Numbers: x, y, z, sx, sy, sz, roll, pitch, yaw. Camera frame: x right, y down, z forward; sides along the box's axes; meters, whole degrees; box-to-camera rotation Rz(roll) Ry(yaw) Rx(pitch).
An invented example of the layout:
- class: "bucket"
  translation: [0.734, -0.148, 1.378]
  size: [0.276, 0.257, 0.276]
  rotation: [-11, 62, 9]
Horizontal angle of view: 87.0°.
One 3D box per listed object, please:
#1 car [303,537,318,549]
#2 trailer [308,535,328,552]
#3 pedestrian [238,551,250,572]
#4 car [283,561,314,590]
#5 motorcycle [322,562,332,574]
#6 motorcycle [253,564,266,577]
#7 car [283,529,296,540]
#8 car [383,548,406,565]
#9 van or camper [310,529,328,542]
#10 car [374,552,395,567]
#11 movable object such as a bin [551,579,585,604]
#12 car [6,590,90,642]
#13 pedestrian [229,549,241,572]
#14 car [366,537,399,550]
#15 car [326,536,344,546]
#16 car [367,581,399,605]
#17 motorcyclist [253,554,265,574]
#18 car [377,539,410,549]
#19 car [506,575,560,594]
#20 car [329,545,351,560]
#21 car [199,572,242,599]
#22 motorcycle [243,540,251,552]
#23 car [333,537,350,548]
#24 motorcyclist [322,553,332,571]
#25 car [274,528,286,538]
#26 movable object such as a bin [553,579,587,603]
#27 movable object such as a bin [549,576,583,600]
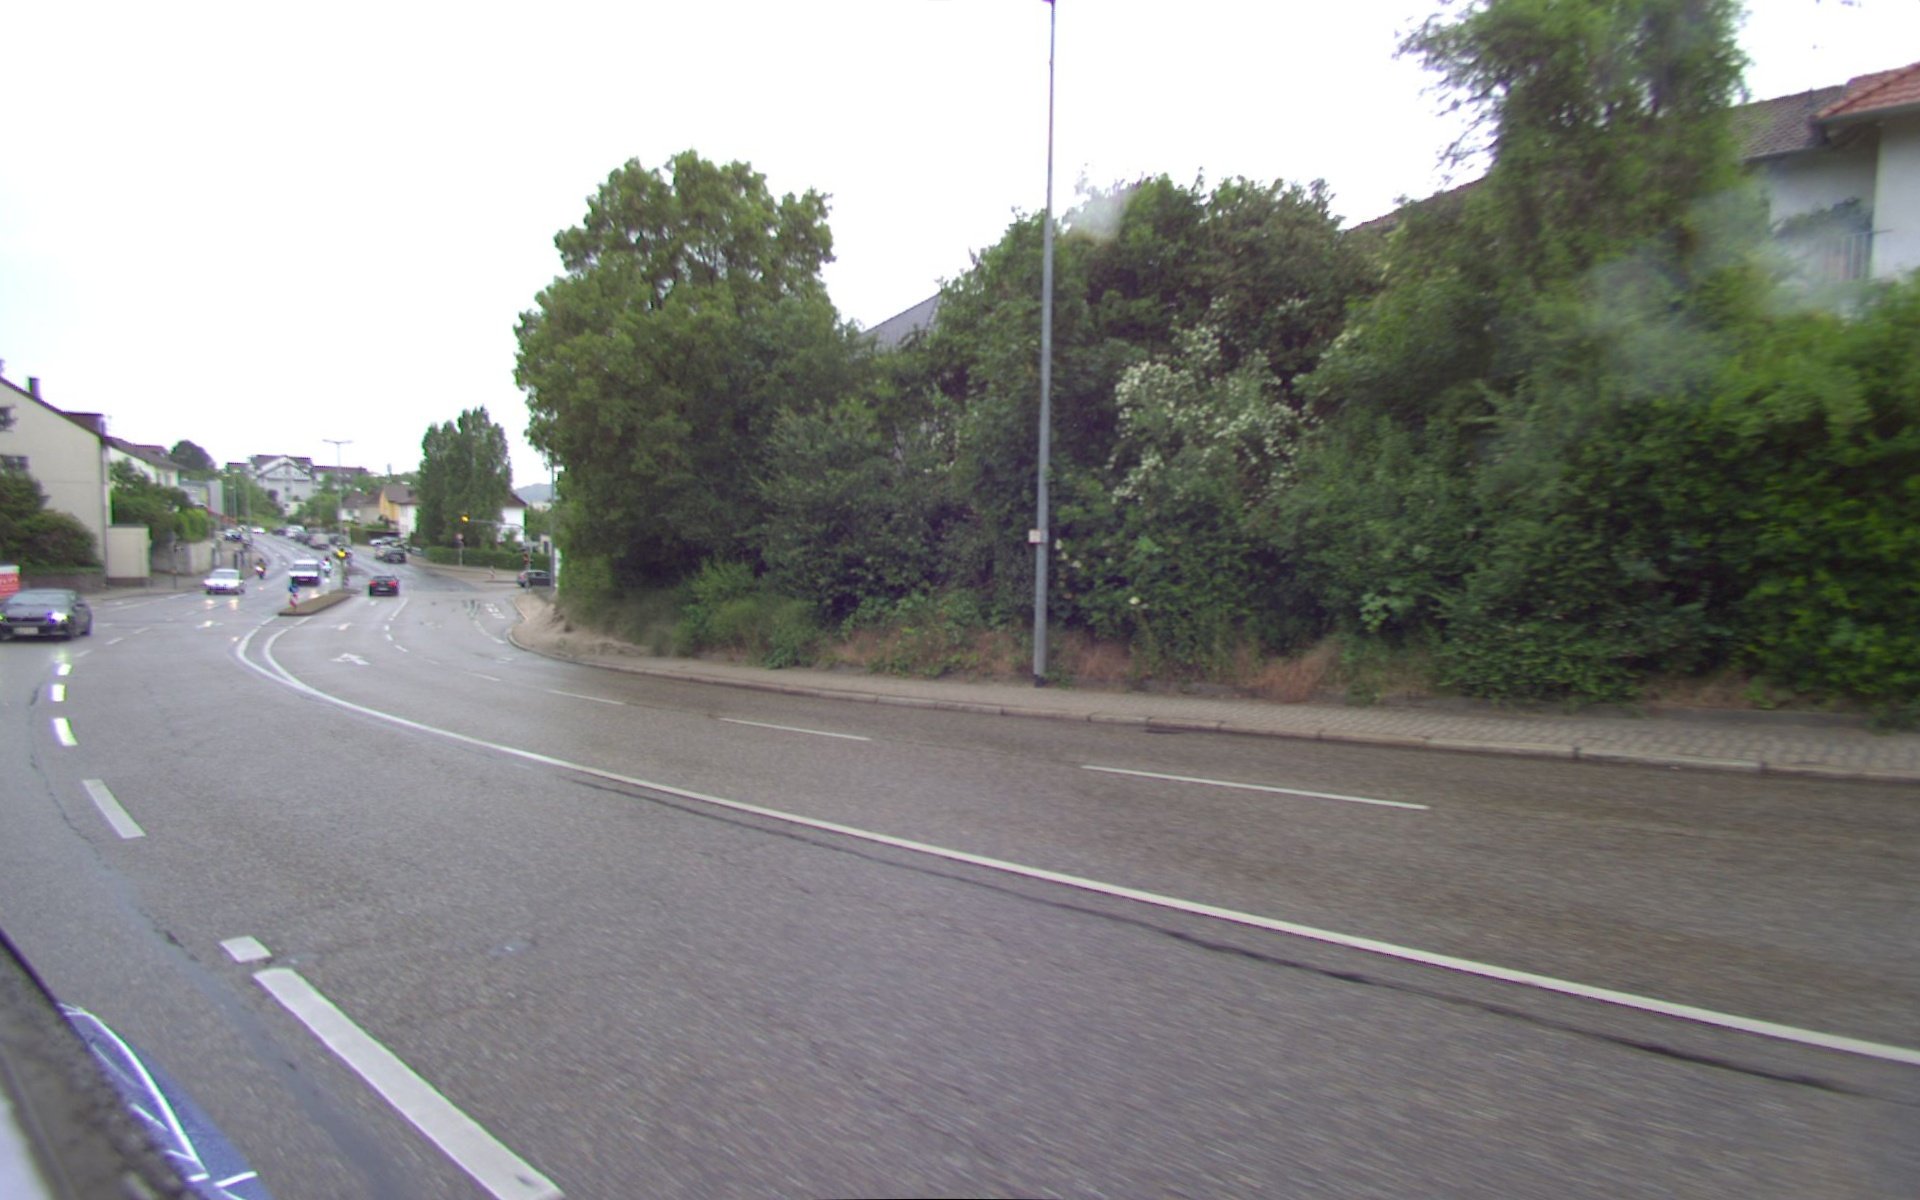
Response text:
- class: "car"
  translation: [-98.325, -8.640, 153.190]
  size: [1.816, 1.563, 4.396]
  rotation: [1, 4, -35]
- class: "trailer"
  translation: [-89.047, -7.898, 140.400]
  size: [1.872, 2.195, 4.044]
  rotation: [0, 4, -39]
- class: "pedestrian"
  translation: [-65.399, -3.534, 92.408]
  size: [0.782, 1.793, 1.015]
  rotation: [2, 4, -31]
- class: "car"
  translation: [-50.780, -1.880, 77.733]
  size: [1.925, 1.884, 4.761]
  rotation: [1, 4, -33]
- class: "motorcycle"
  translation: [-56.925, -2.899, 91.036]
  size: [0.751, 0.959, 2.450]
  rotation: [0, 5, -32]
- class: "motorcycle"
  translation: [-57.779, -2.432, 83.428]
  size: [0.751, 0.959, 2.450]
  rotation: [0, 5, -32]
- class: "car"
  translation: [-115.439, -11.284, 174.275]
  size: [1.811, 1.567, 4.784]
  rotation: [0, 5, -35]
- class: "car"
  translation: [-65.021, -5.044, 116.365]
  size: [1.781, 1.681, 4.610]
  rotation: [0, 5, -37]
- class: "van or camper"
  translation: [-110.996, -11.186, 175.239]
  size: [2.156, 2.028, 5.147]
  rotation: [-1, 5, -38]
- class: "car"
  translation: [-69.096, -4.878, 121.481]
  size: [1.781, 1.579, 4.154]
  rotation: [0, 5, -37]
- class: "movable object such as a bin"
  translation: [-26.844, -0.588, 69.276]
  size: [2.028, 1.580, 1.587]
  rotation: [1, 2, -26]
- class: "car"
  translation: [-27.734, 0.435, 30.845]
  size: [1.813, 1.468, 4.006]
  rotation: [0, 1, -41]
- class: "pedestrian"
  translation: [-65.021, -3.537, 90.795]
  size: [0.786, 2.028, 0.737]
  rotation: [0, 5, -31]
- class: "car"
  translation: [-88.122, -8.653, 154.431]
  size: [4.051, 1.495, 1.842]
  rotation: [4, 1, -44]
- class: "car"
  translation: [-98.088, -9.247, 158.811]
  size: [1.782, 1.426, 4.008]
  rotation: [0, 5, -40]
- class: "car"
  translation: [-39.741, -0.471, 69.684]
  size: [1.865, 1.498, 4.247]
  rotation: [1, 2, -30]
- class: "motorcyclist"
  translation: [-57.772, -2.962, 83.451]
  size: [0.749, 1.614, 0.811]
  rotation: [0, 5, -32]
- class: "car"
  translation: [-84.058, -8.313, 150.073]
  size: [4.045, 1.430, 1.889]
  rotation: [-3, 6, -37]
- class: "car"
  translation: [-36.741, -1.338, 87.164]
  size: [3.990, 1.498, 1.847]
  rotation: [0, 5, -33]
- class: "car"
  translation: [-76.858, -5.911, 125.490]
  size: [1.800, 1.669, 4.477]
  rotation: [0, 4, -38]
- class: "car"
  translation: [-47.246, -0.942, 64.708]
  size: [1.810, 1.492, 4.013]
  rotation: [1, 3, -30]
- class: "motorcycle"
  translation: [-89.279, -6.751, 126.715]
  size: [0.683, 1.334, 2.485]
  rotation: [0, 4, -38]
- class: "car"
  translation: [-94.258, -8.774, 154.222]
  size: [1.781, 1.426, 4.010]
  rotation: [0, 4, -37]
- class: "motorcyclist"
  translation: [-56.853, -3.430, 90.906]
  size: [0.749, 1.614, 0.811]
  rotation: [0, 5, -30]
- class: "car"
  translation: [-126.801, -12.491, 188.643]
  size: [1.690, 1.513, 4.010]
  rotation: [-1, 5, -38]
- class: "movable object such as a bin"
  translation: [-26.187, -0.628, 67.919]
  size: [2.028, 1.526, 1.348]
  rotation: [1, 2, -26]
- class: "movable object such as a bin"
  translation: [-27.533, -0.840, 70.689]
  size: [2.028, 1.580, 1.587]
  rotation: [1, 2, -26]
